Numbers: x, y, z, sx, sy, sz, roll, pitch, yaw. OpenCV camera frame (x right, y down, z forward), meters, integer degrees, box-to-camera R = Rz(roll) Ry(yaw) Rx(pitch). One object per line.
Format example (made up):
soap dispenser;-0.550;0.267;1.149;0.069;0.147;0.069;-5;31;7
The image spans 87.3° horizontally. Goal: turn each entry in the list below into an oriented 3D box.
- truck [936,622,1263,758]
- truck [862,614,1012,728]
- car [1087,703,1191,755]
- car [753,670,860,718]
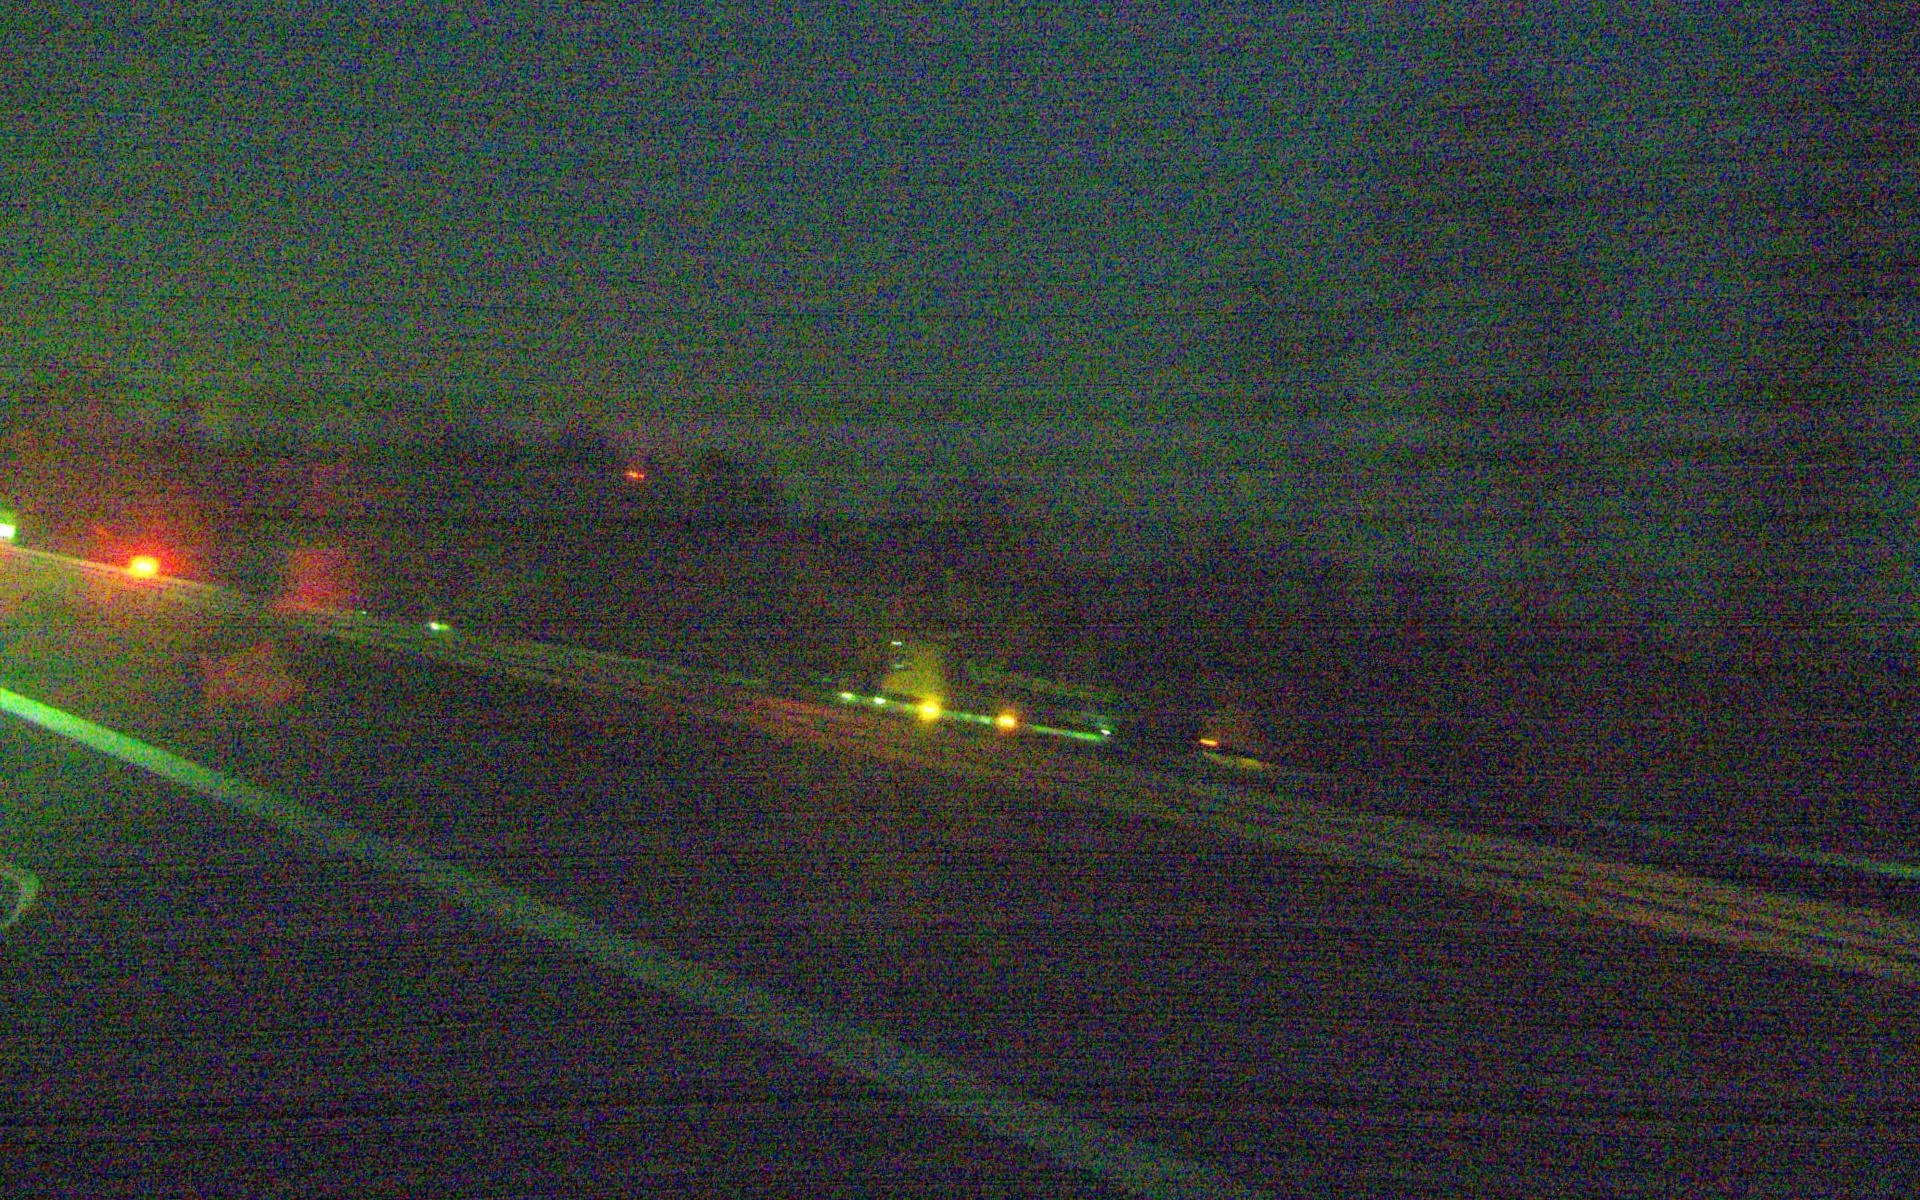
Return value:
truck;6.020;3.899;44.588;13.564;4.271;2.771;6;-2;5
truck;-0.948;3.152;45.146;6.077;4.271;2.770;6;-2;4
car;7.219;5.199;40.691;3.915;1.309;1.715;9;-2;10
car;-6.347;3.871;41.812;3.916;1.309;1.715;9;-2;9
